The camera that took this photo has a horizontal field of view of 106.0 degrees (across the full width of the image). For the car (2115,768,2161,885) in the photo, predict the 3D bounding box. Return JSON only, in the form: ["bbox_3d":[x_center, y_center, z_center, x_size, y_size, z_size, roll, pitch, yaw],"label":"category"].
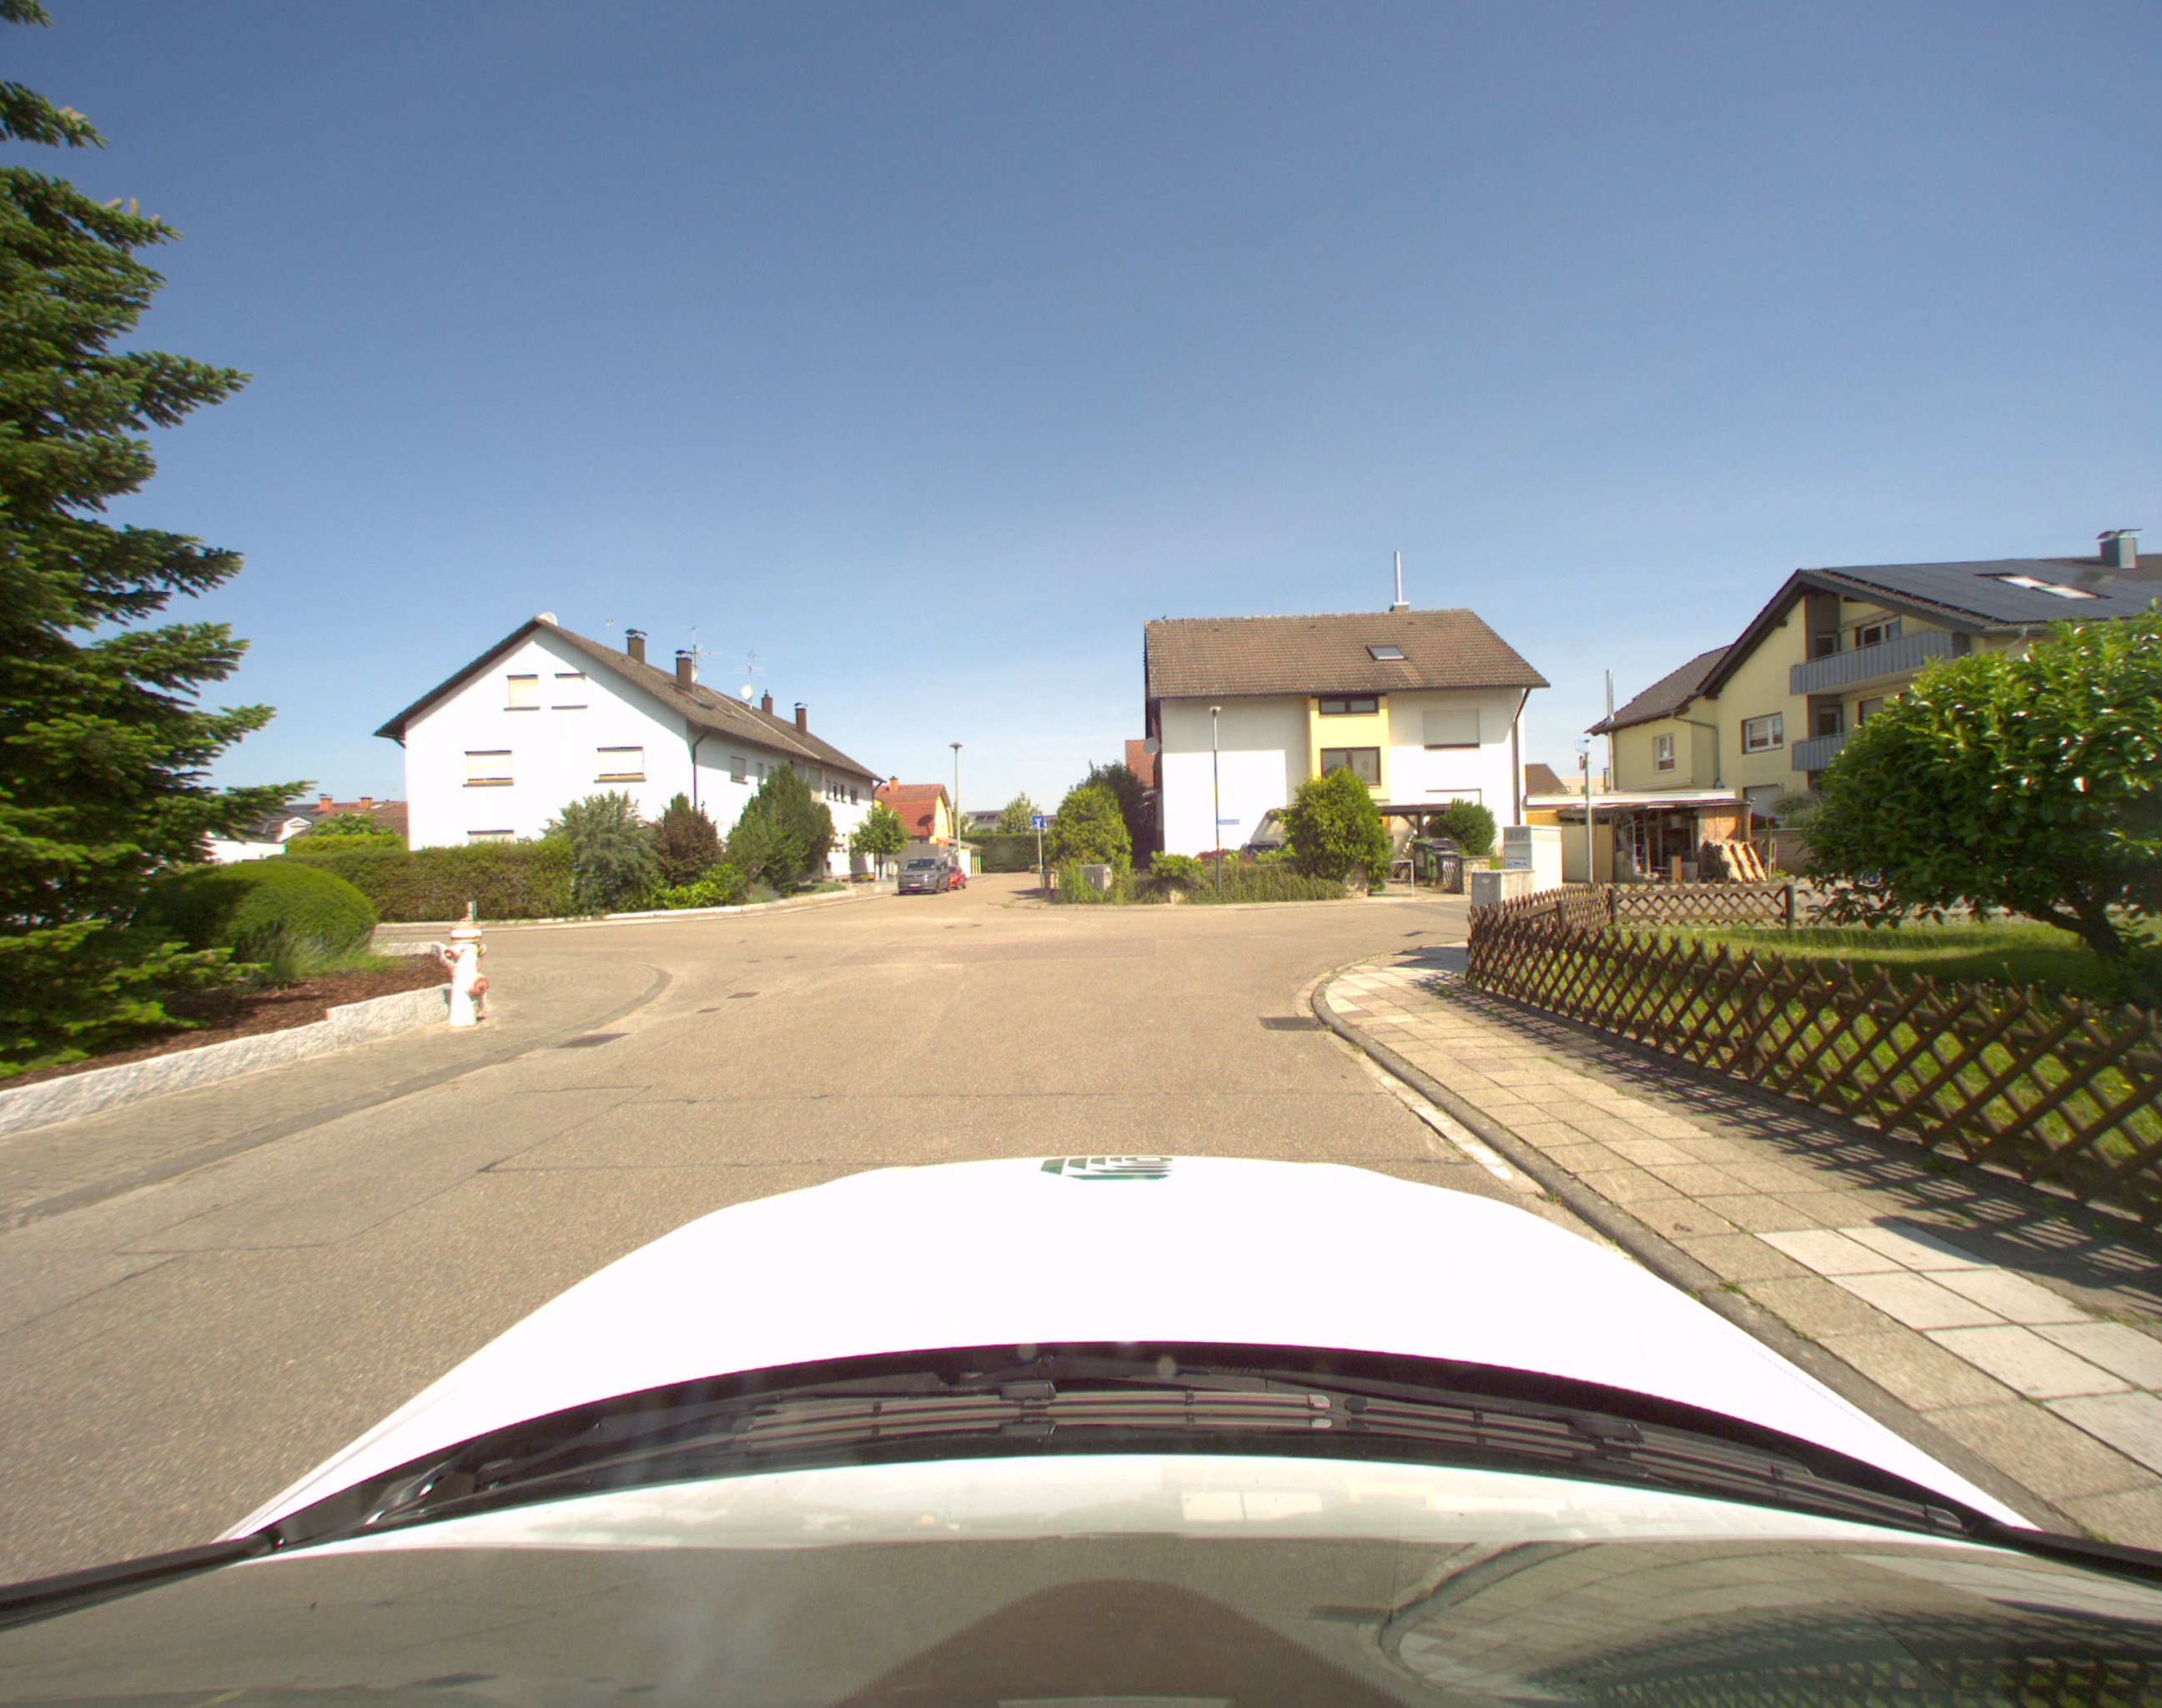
[{"bbox_3d":[19.963,-0.514,13.085,4.174,1.938,1.872,-2,0,2],"label":"car"}]

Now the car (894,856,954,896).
[{"bbox_3d":[-7.934,1.061,41.538,1.893,1.870,4.375,-2,0,3],"label":"car"}]

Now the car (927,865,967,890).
[{"bbox_3d":[-7.874,1.359,48.182,1.646,1.365,3.779,-2,0,0],"label":"car"}]
